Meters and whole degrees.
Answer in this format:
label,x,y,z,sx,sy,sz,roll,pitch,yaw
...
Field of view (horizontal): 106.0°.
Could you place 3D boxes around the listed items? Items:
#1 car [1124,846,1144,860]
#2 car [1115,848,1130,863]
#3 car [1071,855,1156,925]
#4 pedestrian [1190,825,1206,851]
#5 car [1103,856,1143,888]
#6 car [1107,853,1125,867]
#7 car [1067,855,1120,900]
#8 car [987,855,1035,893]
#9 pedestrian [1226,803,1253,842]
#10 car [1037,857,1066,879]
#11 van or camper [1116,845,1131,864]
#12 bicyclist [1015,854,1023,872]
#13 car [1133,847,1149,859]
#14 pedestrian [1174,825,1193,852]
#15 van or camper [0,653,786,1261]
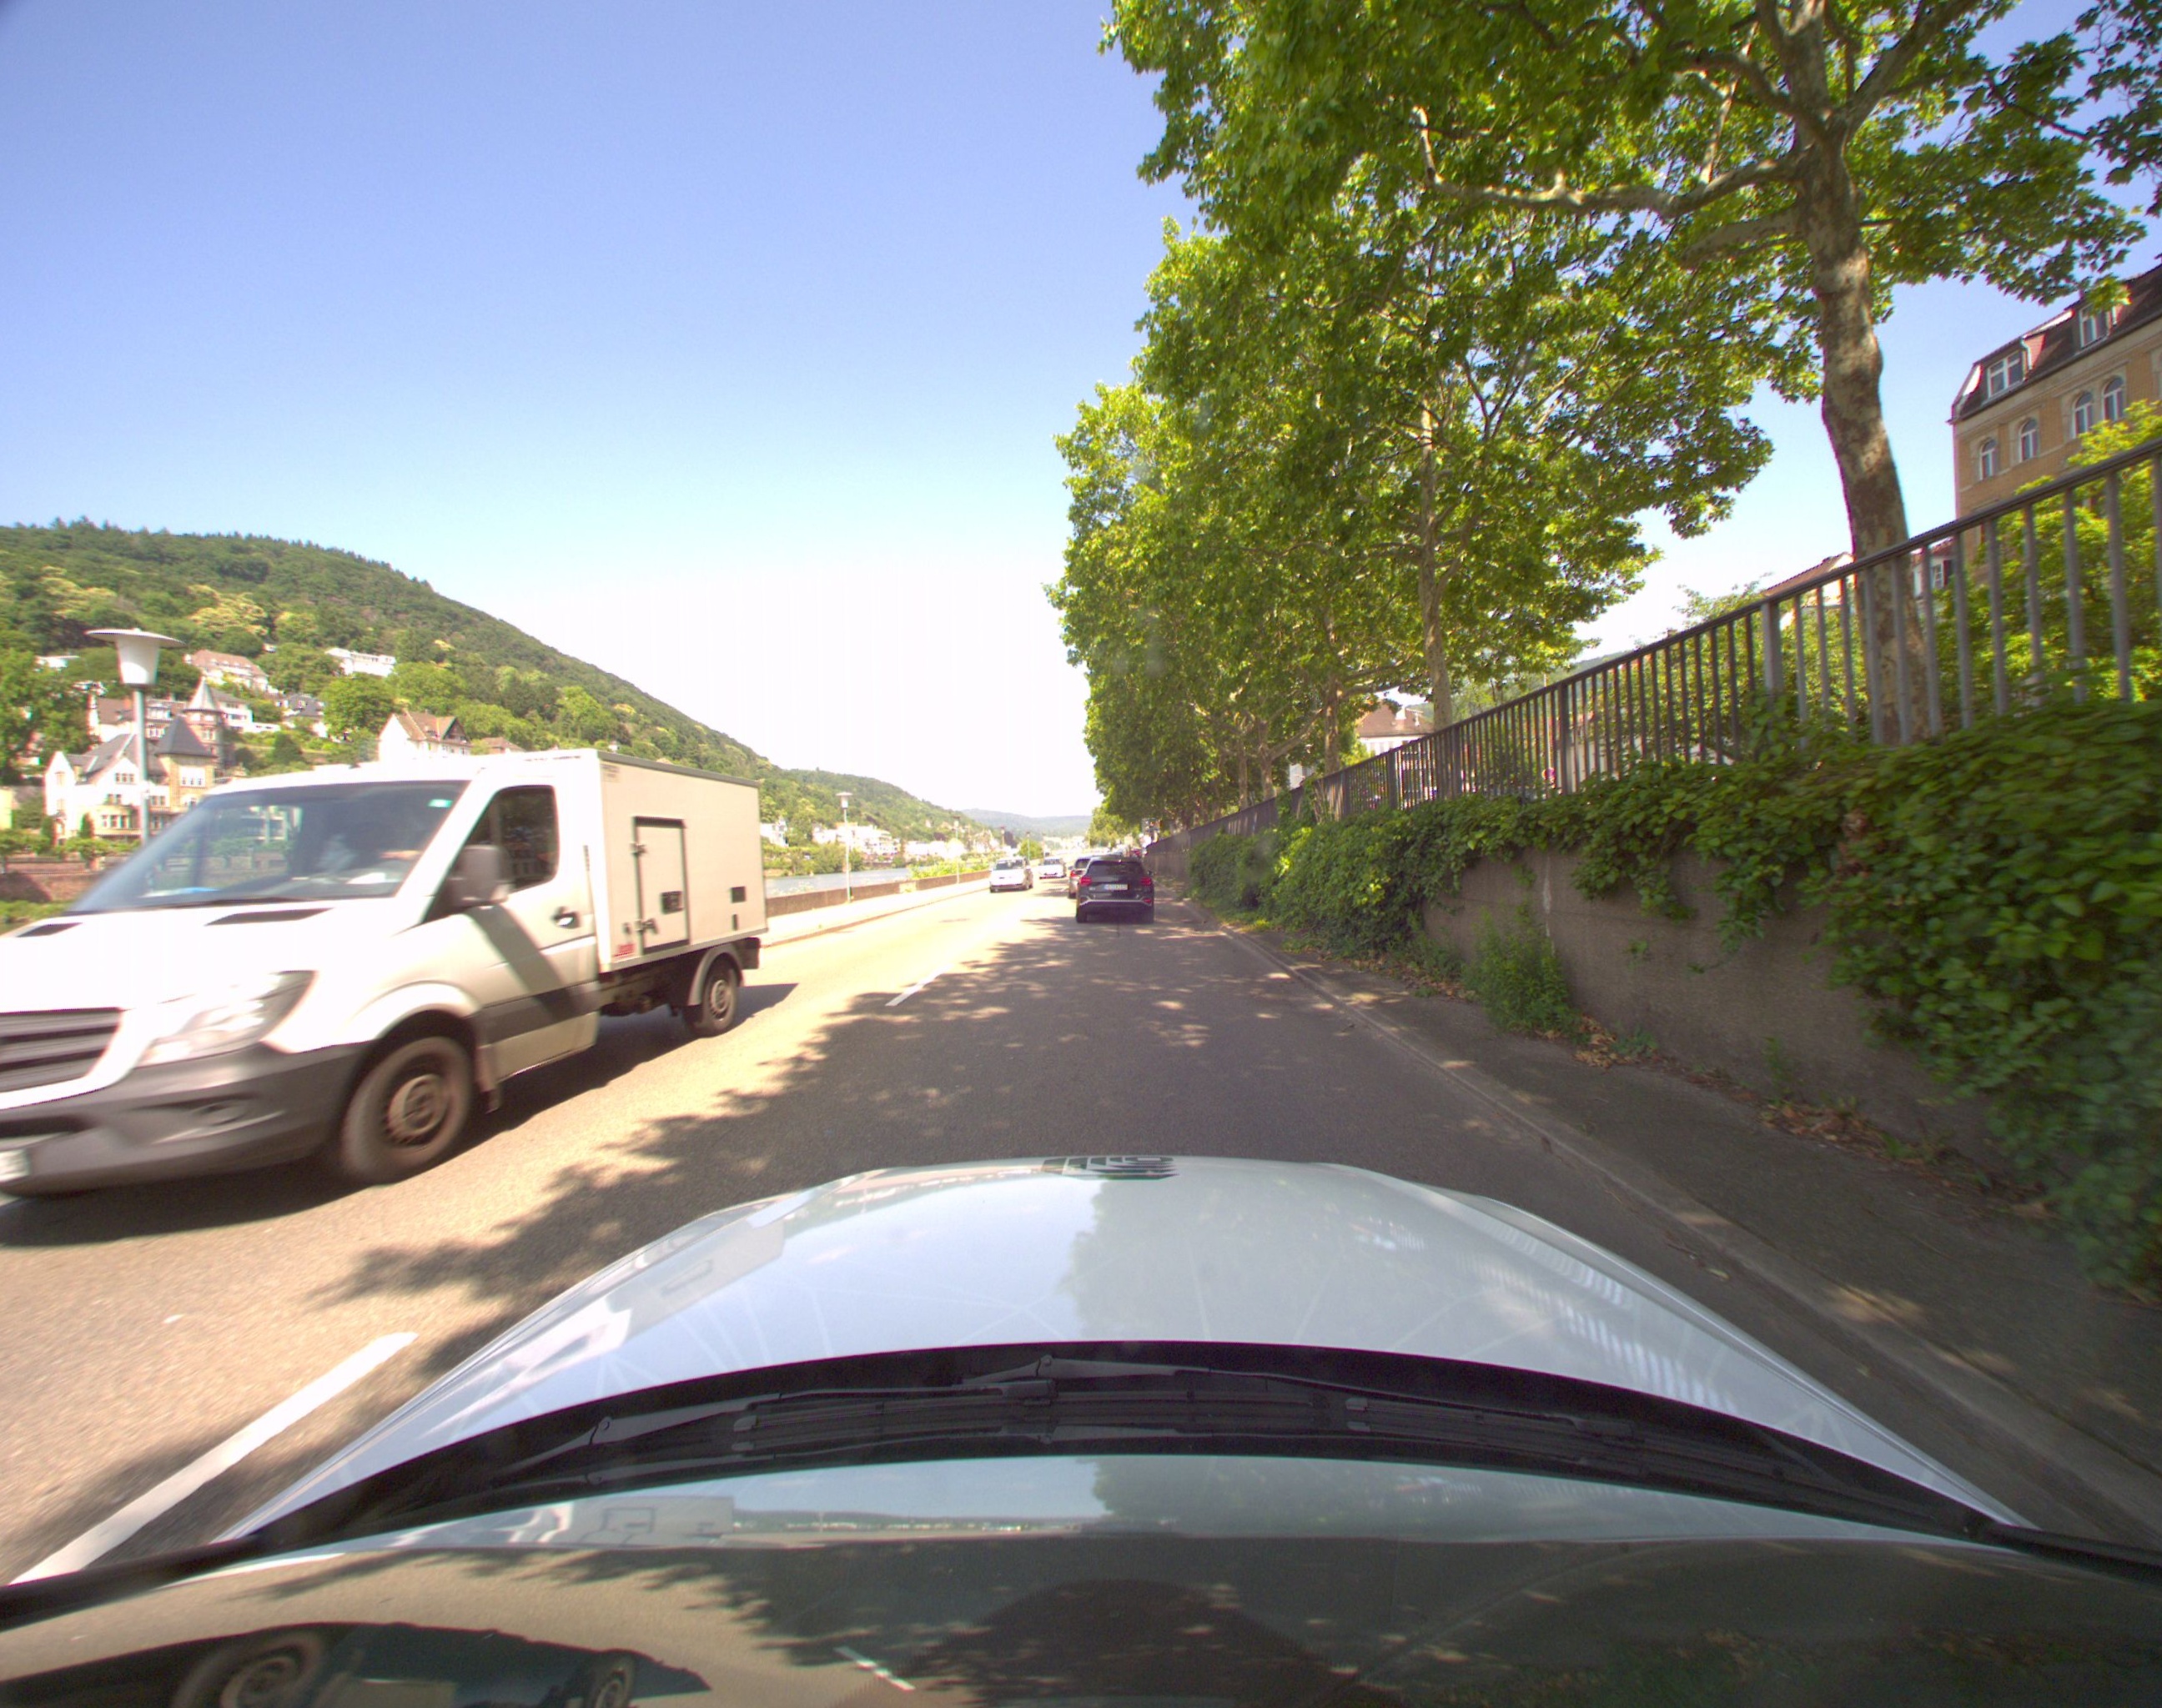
label,x,y,z,sx,sy,sz,roll,pitch,yaw
car,9.241,-0.188,141.830,3.087,2.013,5.826,-5,0,1
car,6.122,0.158,120.349,1.986,2.169,4.001,-1,0,1
car,0.765,0.781,19.794,1.822,1.486,4.001,-1,0,1
pedestrian,6.529,-0.882,45.501,0.678,1.365,0.990,-5,0,1
car,2.014,0.849,40.082,1.822,1.486,4.001,-1,0,1
car,3.755,0.667,87.663,1.822,1.444,4.001,-1,0,1
car,0.486,0.828,30.082,1.822,1.511,4.001,-1,0,1
car,-3.293,0.911,39.023,1.725,1.650,4.178,-3,0,1
pedestrian,5.872,-1.147,30.251,0.751,1.365,0.814,-5,0,0
car,-2.046,0.972,57.711,1.725,1.442,4.046,-2,0,1
van or camper,6.775,0.108,130.476,2.300,2.847,4.249,-2,0,3
bicyclist,-5.718,0.852,75.276,0.635,1.673,0.871,-2,0,1
car,11.188,-0.123,152.608,2.652,2.013,5.826,-5,0,1
pedestrian,6.295,-0.937,49.964,0.933,1.579,1.028,-5,0,0
van or camper,-4.328,0.450,5.991,2.069,2.398,5.387,-3,0,2
